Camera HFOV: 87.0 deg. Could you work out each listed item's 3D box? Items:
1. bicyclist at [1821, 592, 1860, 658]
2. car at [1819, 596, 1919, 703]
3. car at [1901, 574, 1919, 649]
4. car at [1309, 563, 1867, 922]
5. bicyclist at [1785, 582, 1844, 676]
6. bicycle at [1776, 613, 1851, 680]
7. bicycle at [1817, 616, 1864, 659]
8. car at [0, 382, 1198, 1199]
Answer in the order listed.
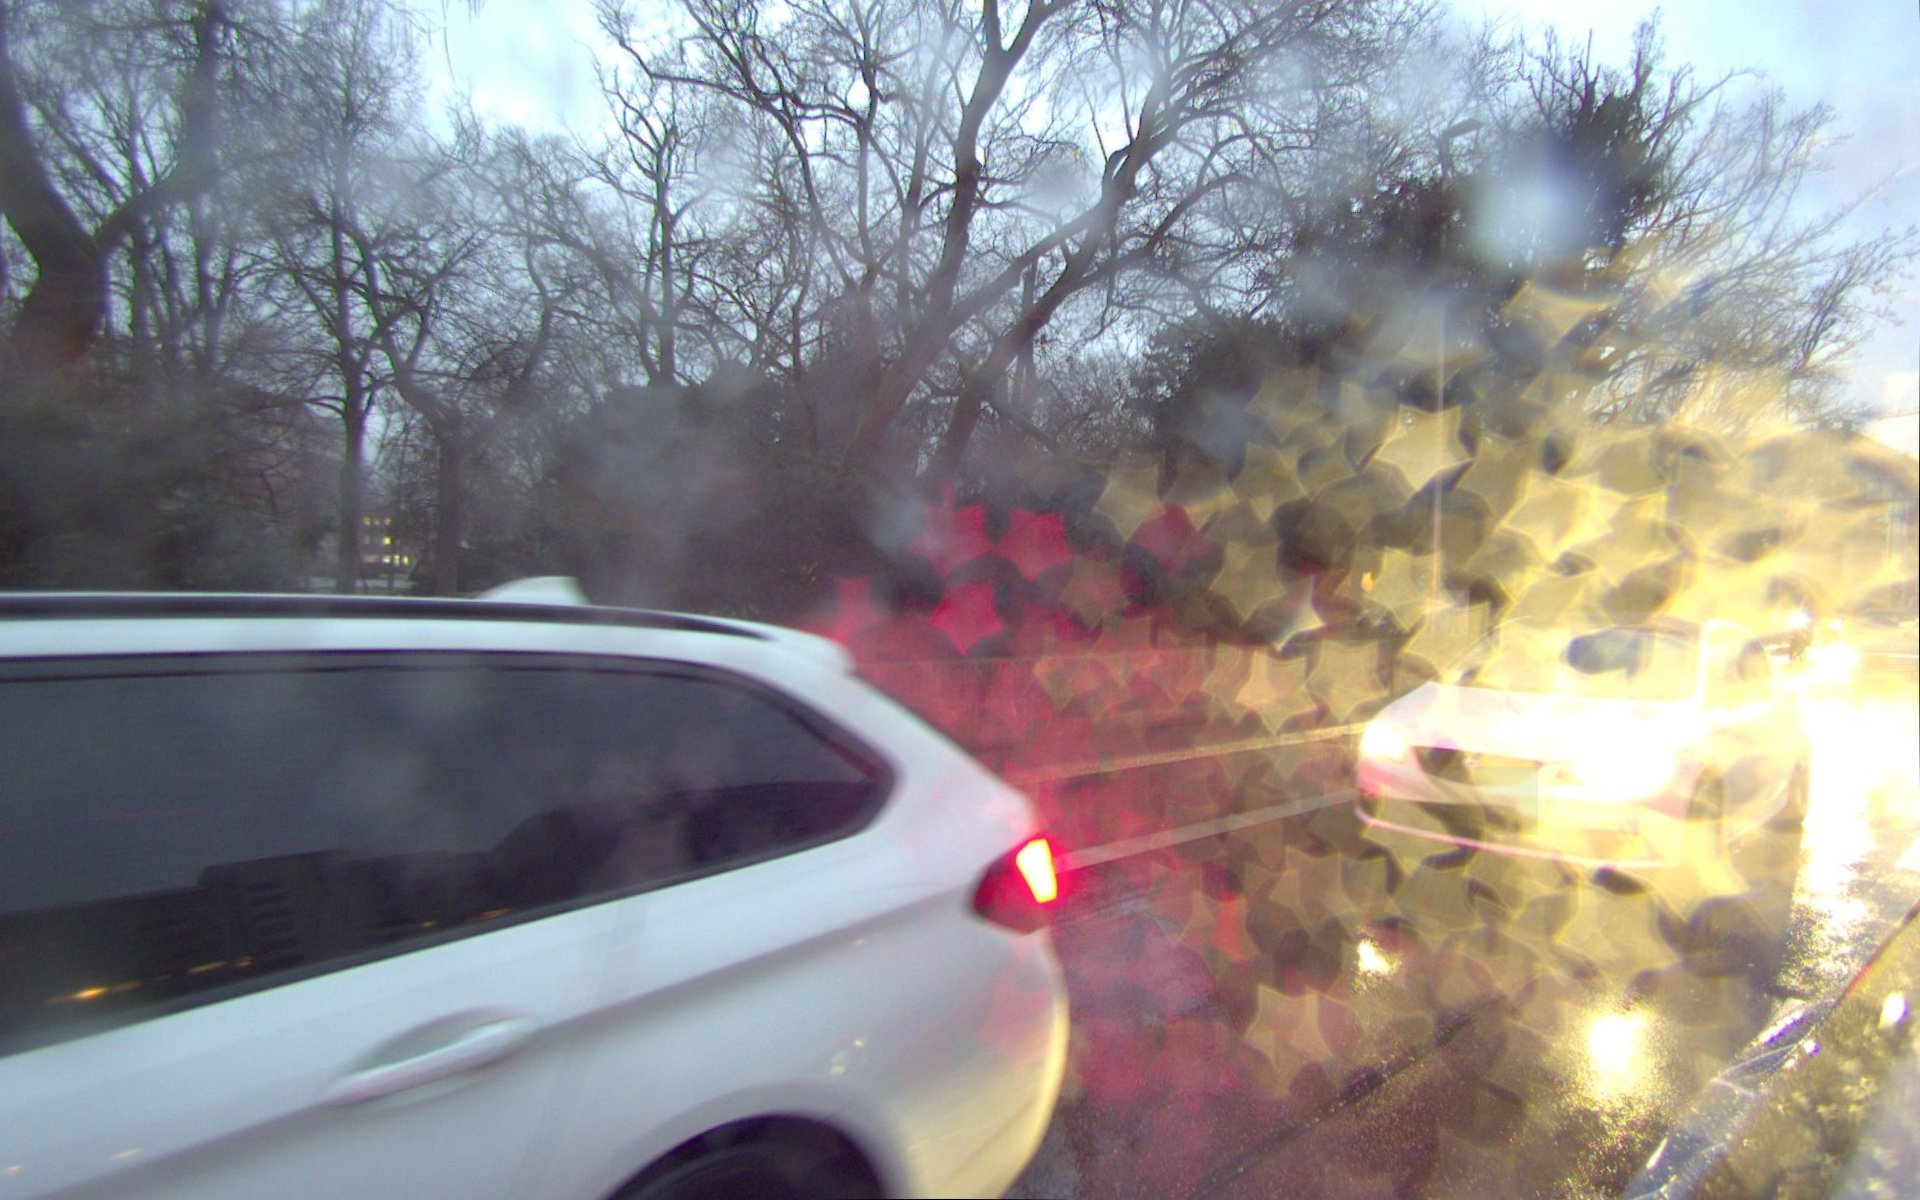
[{"bbox_3d":[23.185,0.646,26.640,0.582,1.706,0.691,0,0,-41],"label":"bicyclist"},{"bbox_3d":[16.311,0.761,17.245,4.196,1.648,2.070,0,0,-43],"label":"car"},{"bbox_3d":[23.257,0.242,23.157,4.193,1.648,2.072,0,0,-40],"label":"car"},{"bbox_3d":[4.226,0.613,6.544,4.097,1.580,1.885,0,2,-41],"label":"car"},{"bbox_3d":[20.839,0.684,24.680,0.919,2.251,0.966,0,0,-42],"label":"bicyclist"},{"bbox_3d":[20.764,1.074,24.588,3.332,1.469,0.966,0,0,-42],"label":"bicycle"},{"bbox_3d":[23.155,0.973,26.605,1.691,1.055,0.691,0,0,-41],"label":"bicycle"},{"bbox_3d":[-1.883,0.555,1.257,4.855,1.575,1.865,0,2,-43],"label":"car"}]
